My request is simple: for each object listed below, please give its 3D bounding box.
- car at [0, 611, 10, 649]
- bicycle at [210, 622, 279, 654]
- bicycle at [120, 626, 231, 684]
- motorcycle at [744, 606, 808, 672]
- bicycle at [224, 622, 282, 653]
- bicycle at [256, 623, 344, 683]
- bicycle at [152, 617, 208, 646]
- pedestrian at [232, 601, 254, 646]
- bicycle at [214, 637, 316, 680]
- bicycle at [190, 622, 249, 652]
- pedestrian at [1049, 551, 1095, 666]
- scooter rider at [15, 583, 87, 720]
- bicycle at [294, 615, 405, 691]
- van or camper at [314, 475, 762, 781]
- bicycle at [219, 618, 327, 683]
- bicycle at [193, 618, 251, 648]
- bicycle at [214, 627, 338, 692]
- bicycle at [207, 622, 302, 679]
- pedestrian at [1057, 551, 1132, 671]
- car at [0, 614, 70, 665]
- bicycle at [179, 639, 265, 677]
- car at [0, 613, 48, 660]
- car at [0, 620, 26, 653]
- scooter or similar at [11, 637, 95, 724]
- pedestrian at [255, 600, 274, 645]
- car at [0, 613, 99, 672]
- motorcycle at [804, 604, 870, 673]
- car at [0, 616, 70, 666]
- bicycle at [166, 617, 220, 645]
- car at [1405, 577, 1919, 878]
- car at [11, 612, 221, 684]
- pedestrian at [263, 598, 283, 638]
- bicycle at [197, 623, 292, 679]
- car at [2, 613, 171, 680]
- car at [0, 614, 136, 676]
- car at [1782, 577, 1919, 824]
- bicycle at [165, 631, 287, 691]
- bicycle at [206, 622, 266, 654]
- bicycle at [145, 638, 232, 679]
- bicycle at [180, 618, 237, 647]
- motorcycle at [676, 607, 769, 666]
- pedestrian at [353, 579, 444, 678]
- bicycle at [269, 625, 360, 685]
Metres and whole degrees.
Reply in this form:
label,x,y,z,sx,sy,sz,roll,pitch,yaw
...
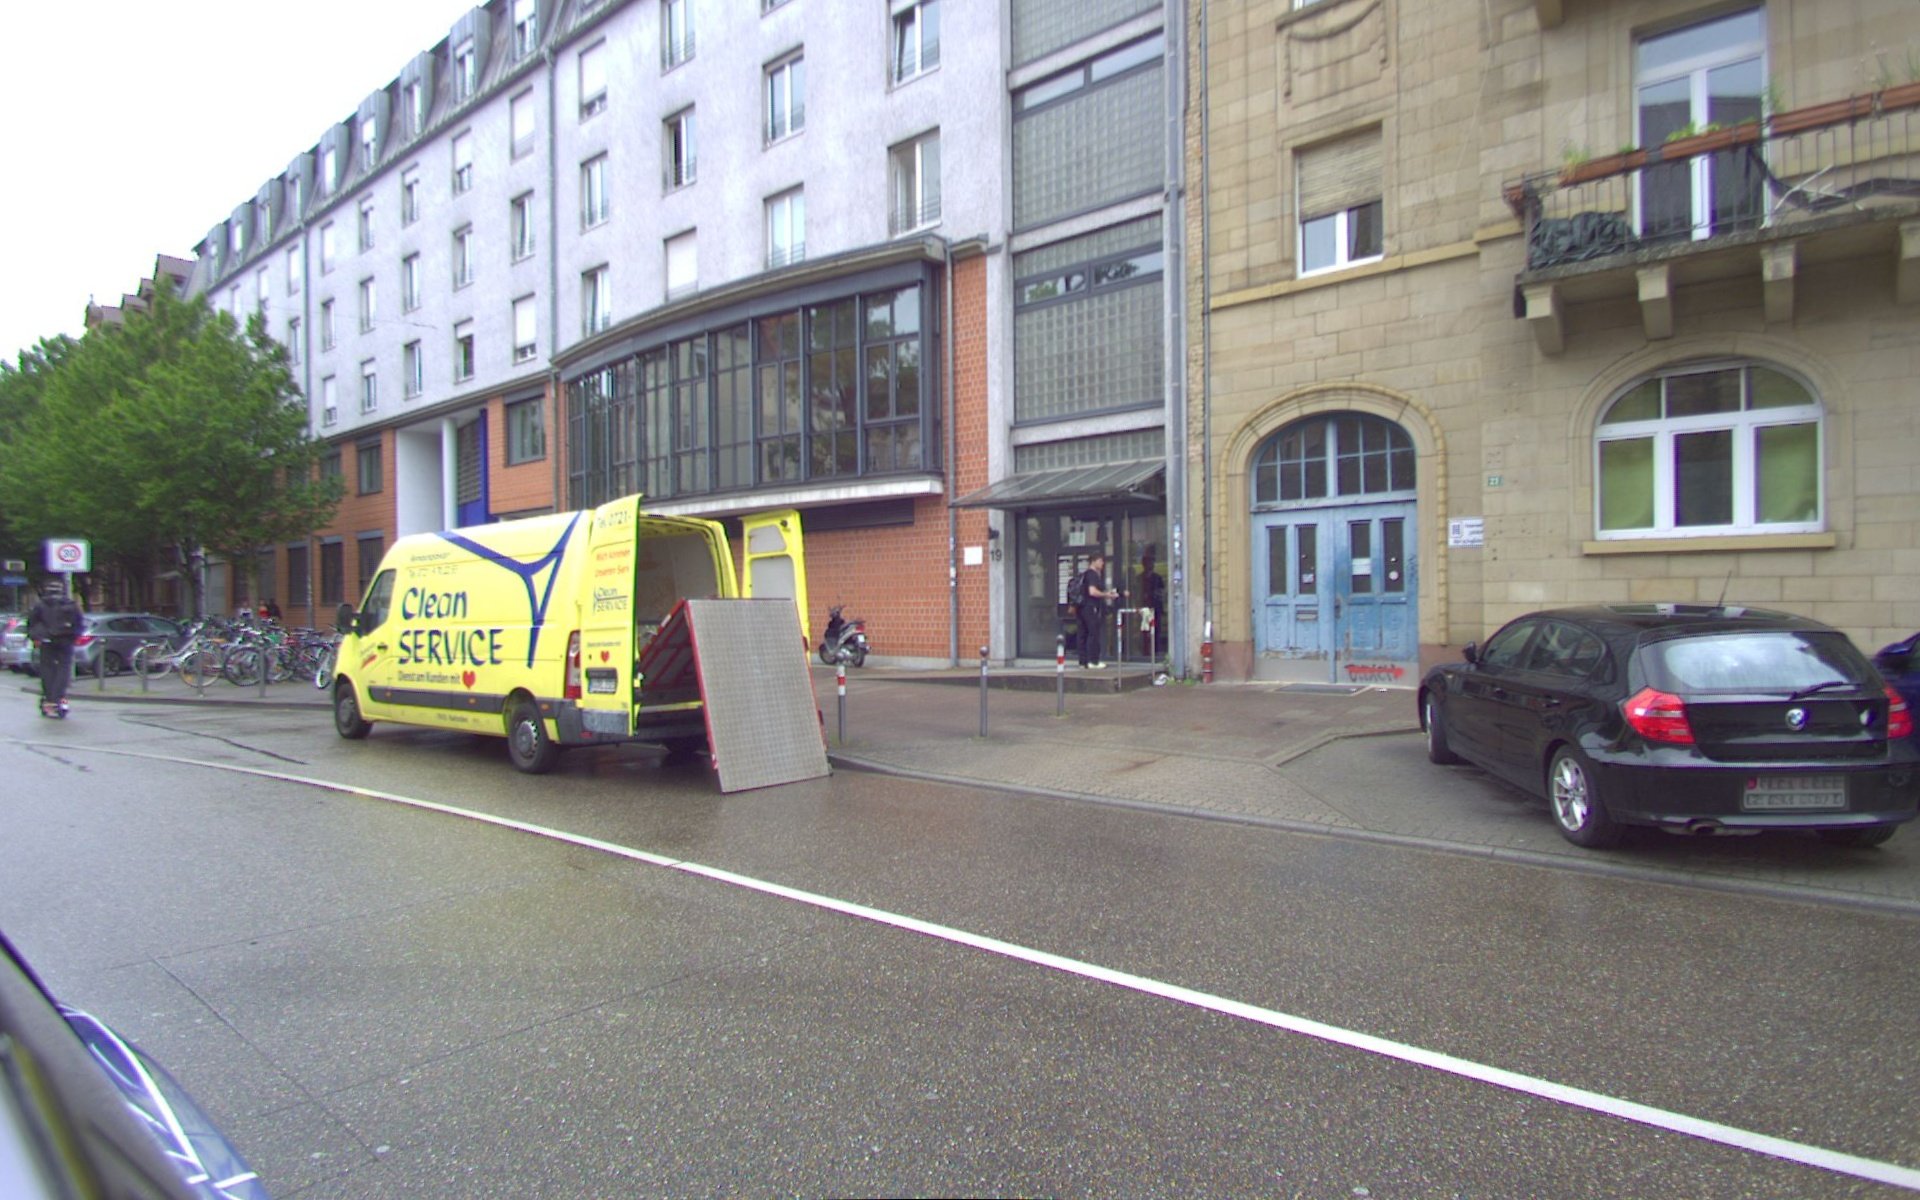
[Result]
label,x,y,z,sx,sy,sz,roll,pitch,yaw
car,-48.724,1.459,48.847,1.666,1.910,4.330,0,-1,-1
bicycle,-23.393,1.241,33.134,0.444,0.992,1.831,-1,-1,32
bicycle,-16.600,1.141,21.459,0.472,1.114,1.791,-1,1,35
motorcycle,-3.534,0.715,19.317,0.516,1.190,2.010,-1,0,-30
bicycle,-23.851,1.251,34.171,0.444,0.992,1.573,-1,-1,32
bicycle,-13.284,1.051,20.388,1.439,1.111,0.462,-2,1,-36
bicycle,-28.536,1.142,37.036,0.464,0.992,1.573,-1,-1,32
pedestrian,-26.323,0.849,37.150,0.372,1.622,0.598,-1,-1,39
bicycle,-14.509,1.210,21.175,0.455,0.767,1.757,-1,1,27
bicycle,-25.291,1.244,34.586,0.444,0.992,1.573,-1,-1,32
pedestrian,1.747,0.136,15.829,0.467,1.761,0.608,0,-1,-24
scooter rider,-13.327,0.740,14.846,0.503,1.950,0.704,-1,-1,38
bicycle,-11.225,0.940,18.690,0.760,1.225,1.917,0,3,5
van or camper,-5.005,0.298,11.453,5.936,2.631,2.174,-1,-2,40
bicycle,-14.072,1.004,20.785,0.517,1.203,1.798,-1,1,27
bicycle,-25.629,1.134,35.153,0.444,0.992,1.573,-1,-1,32
bicycle,-12.797,1.092,18.976,1.832,1.081,0.610,-2,1,-45
bicycle,-15.001,1.059,21.570,0.517,1.114,1.596,-1,1,27
pedestrian,2.037,0.162,15.258,0.785,1.741,0.997,-1,-1,31
car,-30.954,1.277,32.797,1.358,1.567,2.971,-1,0,11
bicycle,-16.359,1.280,22.456,0.497,0.727,1.454,-1,1,43
car,-33.064,1.264,34.570,1.138,1.567,2.672,-1,0,11
car,-43.509,1.619,44.560,1.662,1.502,3.798,0,-1,-10
scooter or similar,-13.269,1.146,14.793,1.383,1.174,0.694,-1,-1,39
pedestrian,-25.787,0.827,37.523,0.425,1.622,0.508,-1,-1,41
car,-26.675,1.183,28.972,1.432,1.564,3.078,-1,0,0
motorcycle,-2.274,0.684,18.532,0.516,1.190,1.763,-1,0,-30
car,-29.082,1.246,31.129,1.177,1.461,2.502,-1,0,0
bicycle,-28.845,1.150,38.062,0.464,0.992,1.573,-1,-1,32
car,4.734,0.672,7.186,1.777,1.523,4.034,0,-1,7
car,-19.859,1.079,24.007,1.720,1.514,3.614,0,0,9
pedestrian,-26.626,0.695,39.222,0.547,1.541,0.509,-1,-2,37
bicycle,-15.526,1.082,21.995,0.519,1.114,1.591,-1,1,35
car,-22.158,1.137,25.815,1.436,1.514,3.070,-1,0,9
car,-24.258,1.179,27.368,1.432,1.514,3.078,-1,0,0
car,6.912,0.632,5.733,1.780,1.585,4.029,-1,-1,11
bicycle,-13.800,1.123,19.081,0.519,1.000,1.778,-1,1,38
bicycle,-23.834,1.241,33.345,0.444,0.992,1.573,-1,-1,32
bicycle,-17.139,1.285,22.503,0.497,0.811,1.454,-1,1,43
bicycle,-26.587,1.137,35.823,0.464,0.992,1.573,-1,-1,32
motorcycle,-4.952,0.740,21.010,2.202,1.165,0.643,-1,0,39
pedestrian,-11.508,0.565,20.766,1.054,1.894,1.213,-1,3,40
bicycle,-12.682,1.059,19.902,0.418,1.072,1.442,-1,1,44
